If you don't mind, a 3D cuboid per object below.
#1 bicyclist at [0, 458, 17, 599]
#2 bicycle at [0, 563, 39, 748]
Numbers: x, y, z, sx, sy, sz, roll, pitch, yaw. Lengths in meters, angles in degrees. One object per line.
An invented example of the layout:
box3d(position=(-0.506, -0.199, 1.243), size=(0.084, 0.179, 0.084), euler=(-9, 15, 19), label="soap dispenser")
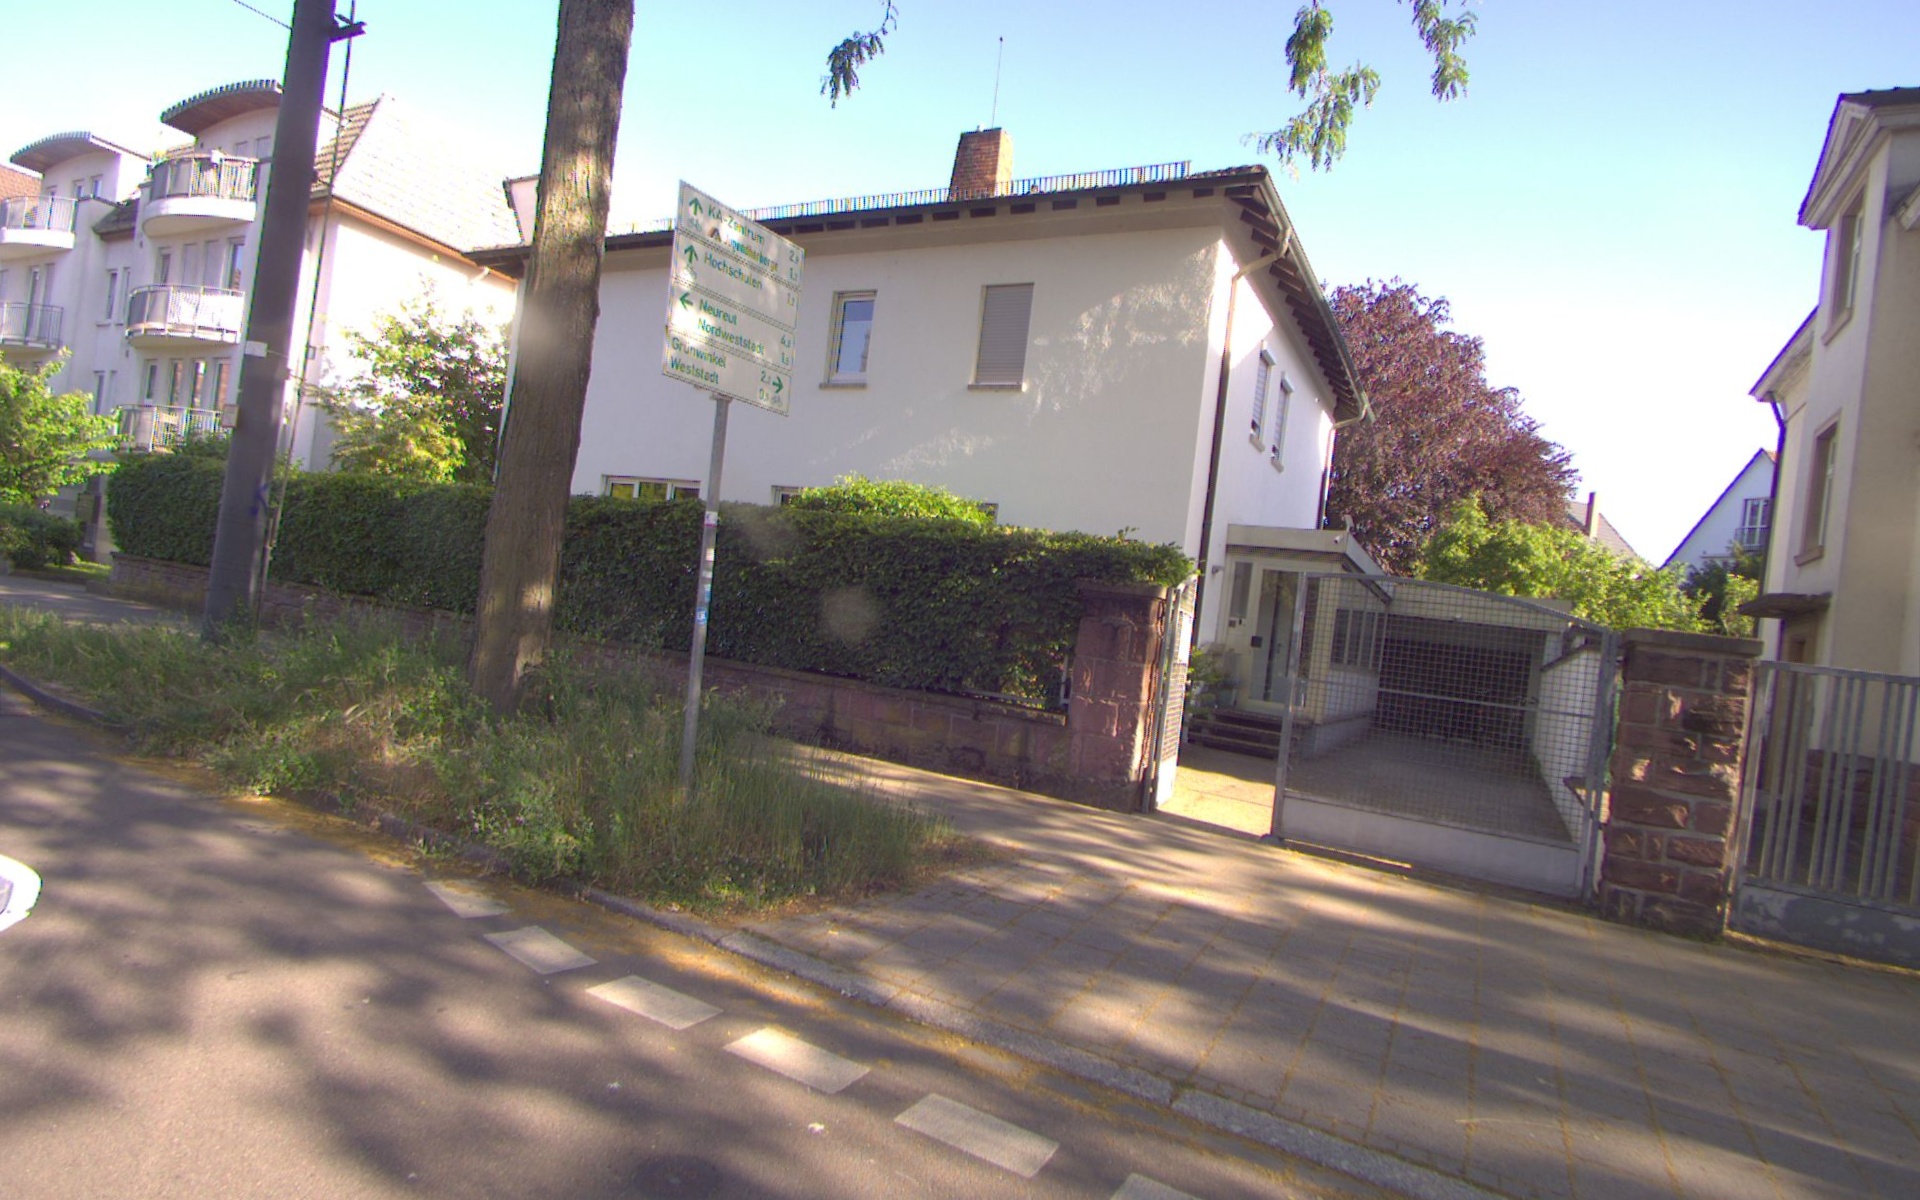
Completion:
box3d(position=(-6.824, -0.141, 6.597), size=(0.766, 1.707, 0.617), euler=(7, 0, 32), label="bicyclist")
box3d(position=(-6.848, 0.252, 6.585), size=(1.941, 1.110, 0.625), euler=(7, -1, 32), label="bicycle")
